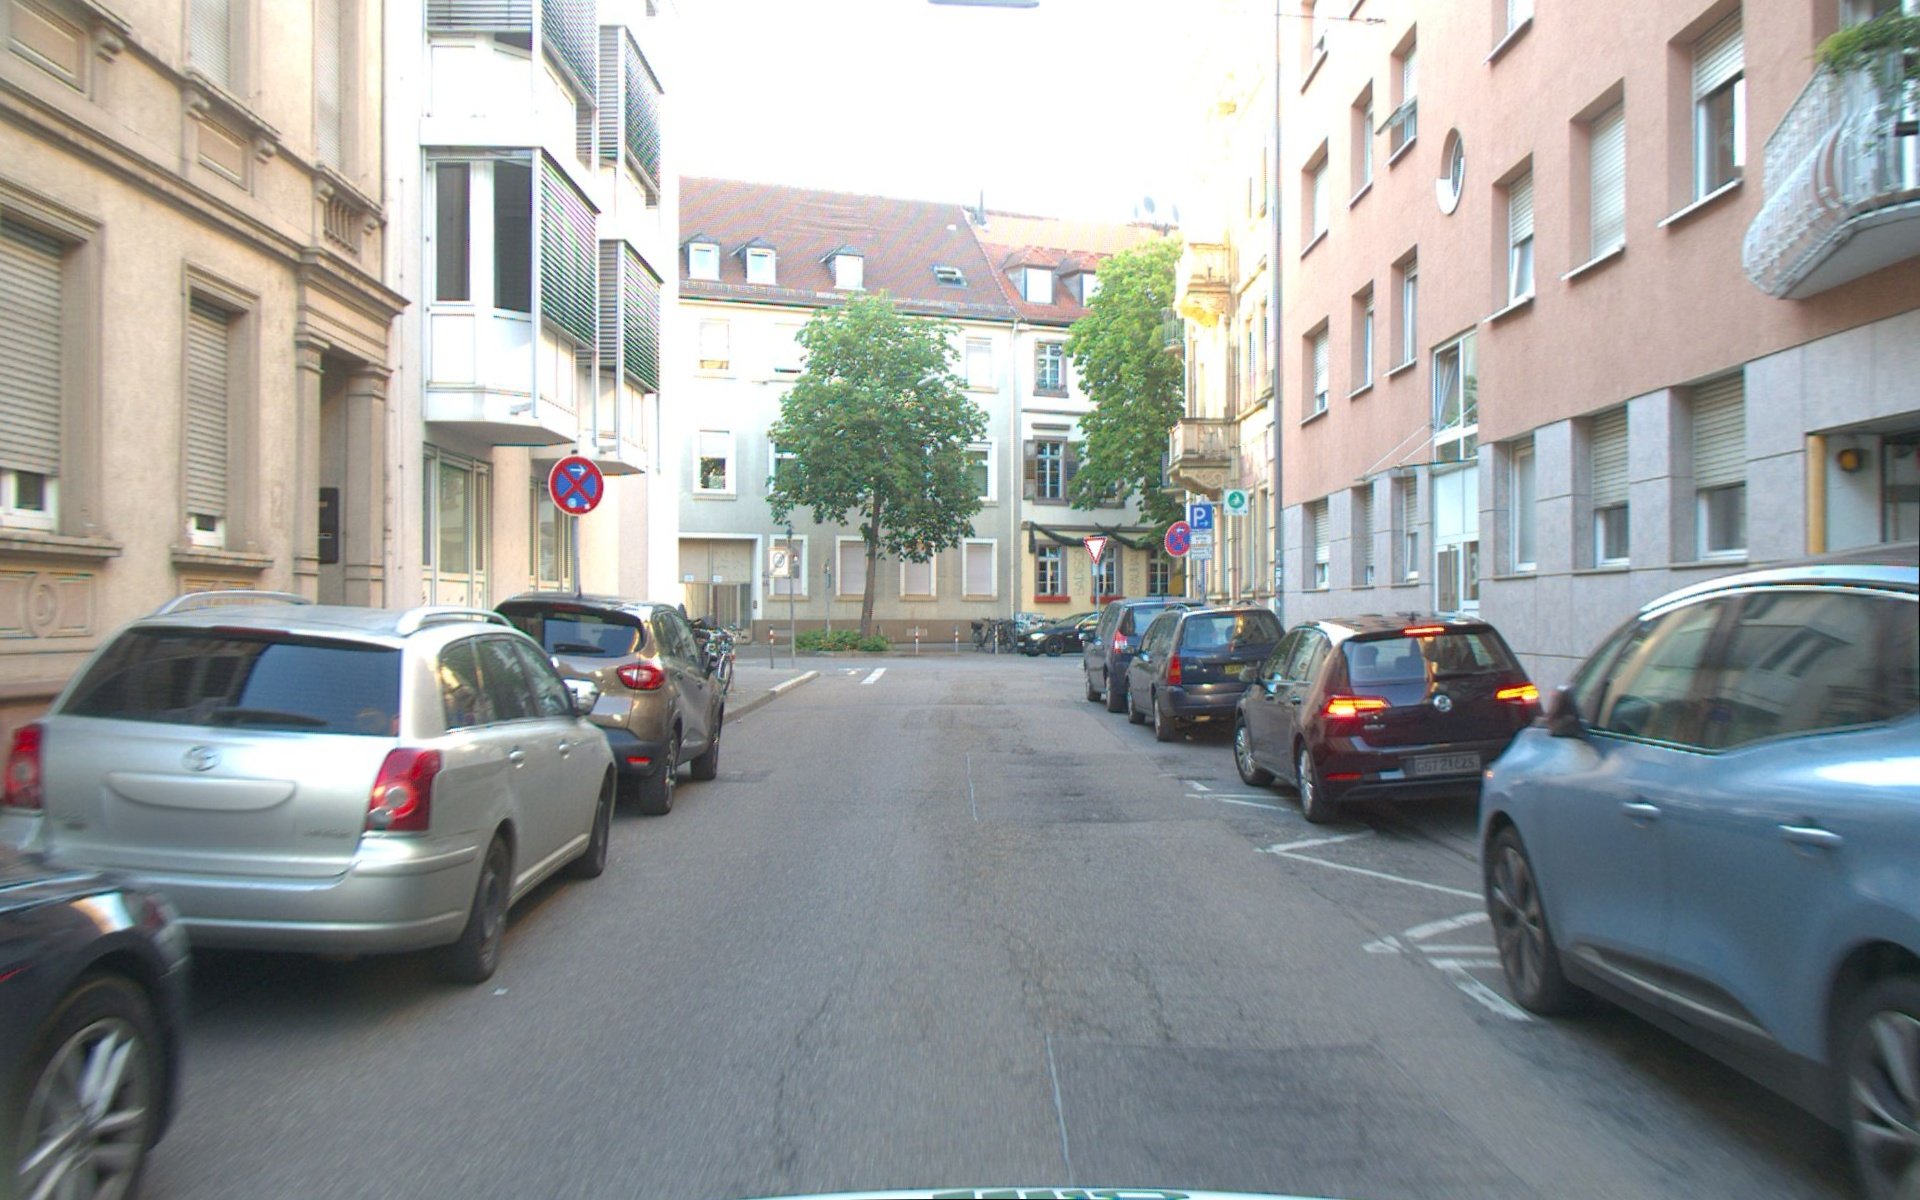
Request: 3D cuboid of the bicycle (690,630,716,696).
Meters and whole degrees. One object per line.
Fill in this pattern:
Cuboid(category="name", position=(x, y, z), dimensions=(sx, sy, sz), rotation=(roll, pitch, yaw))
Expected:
Cuboid(category="bicycle", position=(-3.964, 0.955, 25.561), dimensions=(0.301, 0.948, 1.811), rotation=(0, 0, -6))

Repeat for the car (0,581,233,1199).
Cuboid(category="car", position=(-2.754, 0.748, 2.025), dimensions=(1.754, 1.566, 4.494), rotation=(0, 0, 0))

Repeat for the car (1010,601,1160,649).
Cuboid(category="car", position=(4.063, 0.784, 53.694), dimensions=(4.587, 1.475, 1.757), rotation=(0, 0, -22))

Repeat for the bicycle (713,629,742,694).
Cuboid(category="bicycle", position=(-3.644, 0.951, 25.993), dimensions=(0.301, 0.948, 1.812), rotation=(0, 0, -3))

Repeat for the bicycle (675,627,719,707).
Cuboid(category="bicycle", position=(-3.761, 0.936, 23.711), dimensions=(0.300, 1.060, 1.813), rotation=(-1, 0, 1))

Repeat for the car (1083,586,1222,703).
Cuboid(category="car", position=(2.868, 0.628, 25.422), dimensions=(1.655, 1.653, 4.054), rotation=(0, 0, 0))

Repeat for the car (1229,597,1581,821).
Cuboid(category="car", position=(3.287, 0.720, 13.038), dimensions=(1.655, 1.483, 4.131), rotation=(0, 0, 0))

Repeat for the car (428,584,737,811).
Cuboid(category="car", position=(-2.952, 0.687, 13.788), dimensions=(1.754, 1.604, 4.069), rotation=(0, 0, -2))

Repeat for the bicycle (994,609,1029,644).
Cuboid(category="bicycle", position=(1.736, 0.883, 56.163), dimensions=(0.438, 1.165, 2.029), rotation=(0, 0, -21))

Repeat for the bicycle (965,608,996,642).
Cuboid(category="bicycle", position=(0.710, 0.870, 57.682), dimensions=(0.438, 1.165, 2.031), rotation=(0, 0, -18))

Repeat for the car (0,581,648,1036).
Cuboid(category="car", position=(-2.728, 0.713, 7.936), dimensions=(1.754, 1.566, 4.432), rotation=(0, 0, -2))

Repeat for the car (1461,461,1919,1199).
Cuboid(category="car", position=(2.942, 0.577, 4.915), dimensions=(1.655, 1.772, 4.109), rotation=(0, 0, 0))

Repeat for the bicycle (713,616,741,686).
Cuboid(category="bicycle", position=(-3.931, 0.847, 27.972), dimensions=(0.392, 1.121, 1.811), rotation=(0, 0, -6))

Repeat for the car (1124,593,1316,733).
Cuboid(category="car", position=(3.060, 0.684, 20.250), dimensions=(1.655, 1.540, 4.283), rotation=(0, 0, 0))

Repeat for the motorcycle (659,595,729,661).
Cuboid(category="motorcycle", position=(-6.587, 0.686, 40.838), dimensions=(0.664, 1.583, 2.129), rotation=(0, 0, -42))
